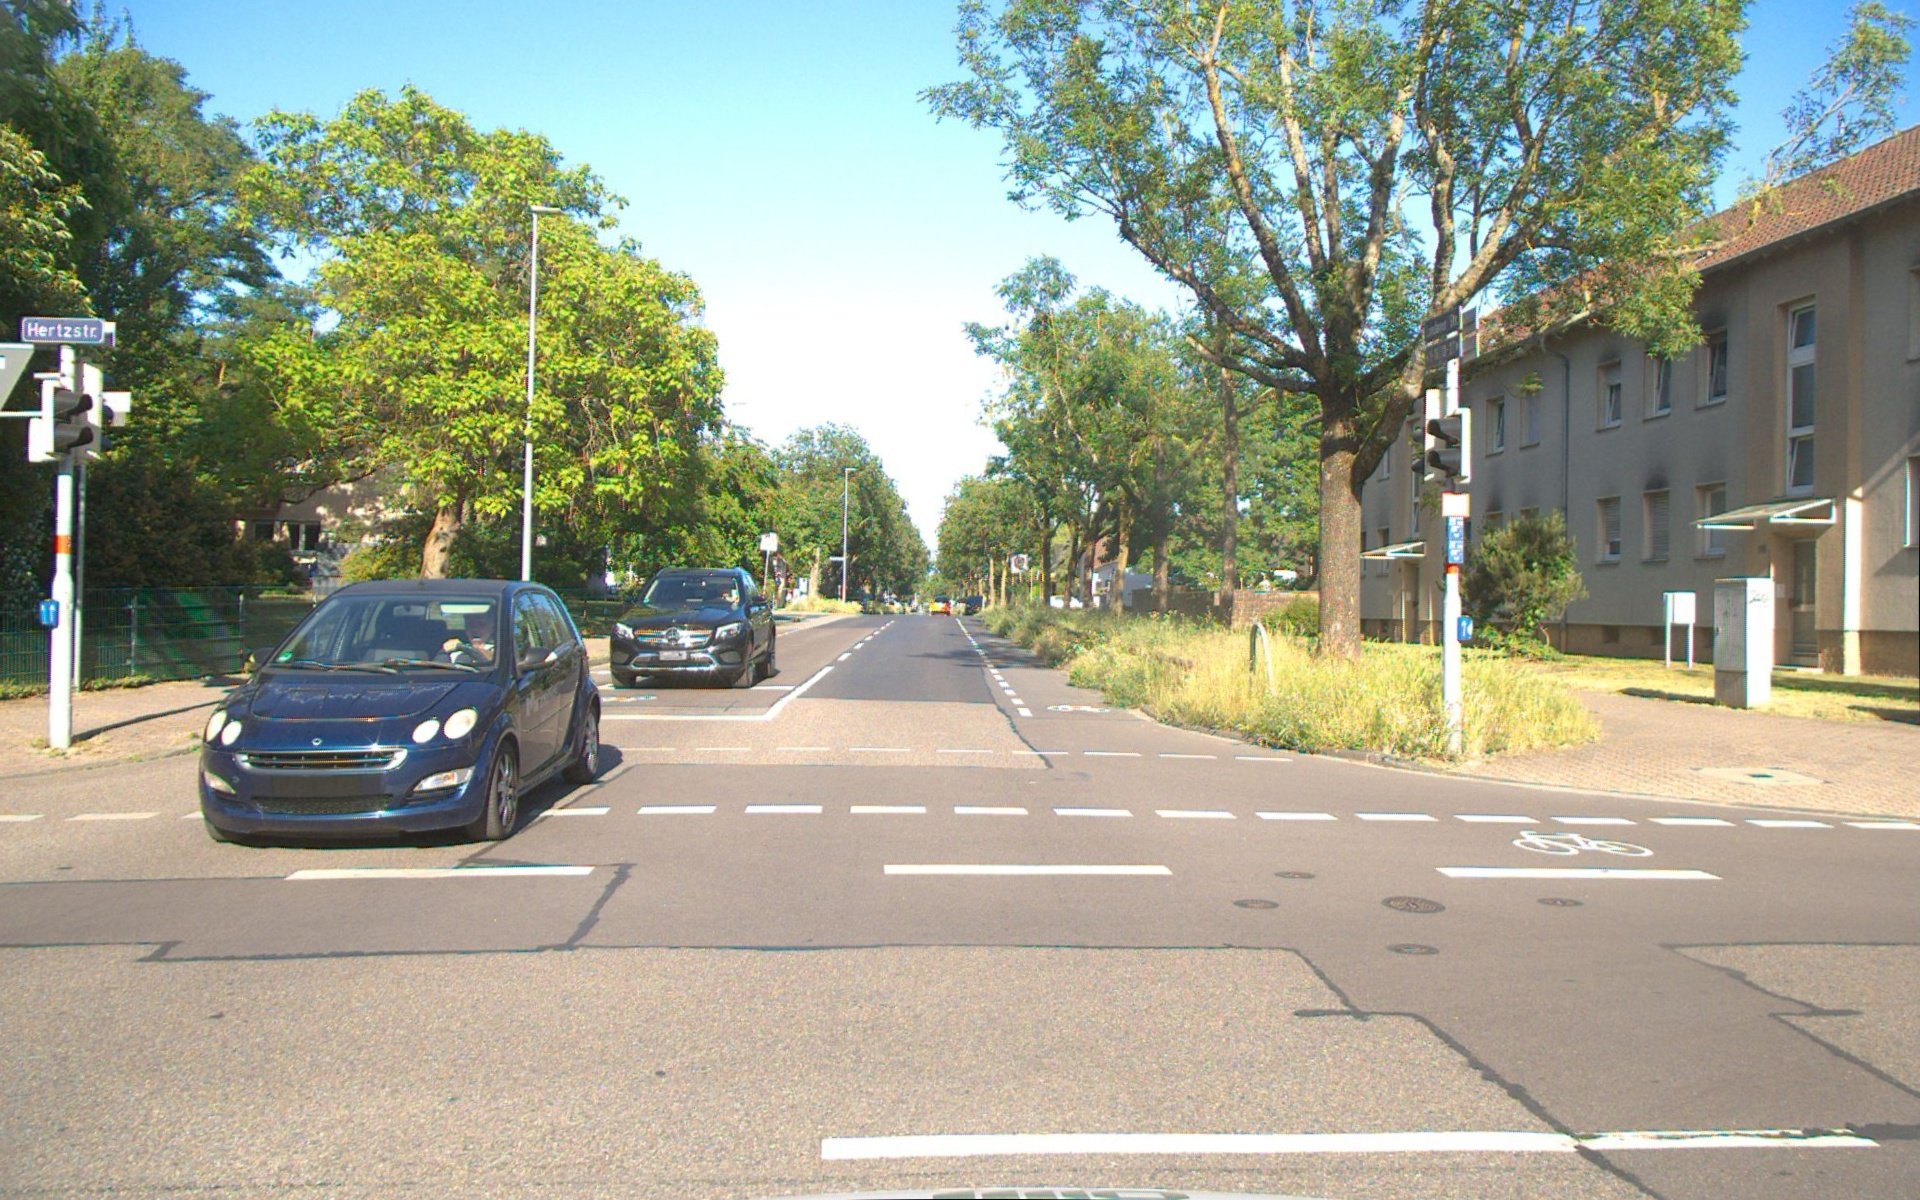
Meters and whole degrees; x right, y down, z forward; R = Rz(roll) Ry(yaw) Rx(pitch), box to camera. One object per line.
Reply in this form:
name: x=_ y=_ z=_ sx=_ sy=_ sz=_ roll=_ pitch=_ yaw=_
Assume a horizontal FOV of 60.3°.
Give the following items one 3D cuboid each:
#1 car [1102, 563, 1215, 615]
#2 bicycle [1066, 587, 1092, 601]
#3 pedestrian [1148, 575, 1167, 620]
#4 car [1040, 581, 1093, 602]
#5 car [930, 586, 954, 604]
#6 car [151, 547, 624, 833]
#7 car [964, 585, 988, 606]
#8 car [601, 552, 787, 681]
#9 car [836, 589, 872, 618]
car: x=10.247 y=-0.563 z=85.804 sx=5.484 sy=2.583 sz=2.264 roll=1 pitch=0 yaw=-5
bicycle: x=9.010 y=-0.449 z=125.552 sx=1.918 sy=1.016 sz=0.576 roll=-1 pitch=1 yaw=-3
pedestrian: x=7.695 y=-0.100 z=64.410 sx=0.624 sy=1.735 sz=0.612 roll=-2 pitch=1 yaw=-2
car: x=8.258 y=-0.658 z=128.708 sx=3.907 sy=1.514 sz=1.901 roll=-1 pitch=1 yaw=-2
car: x=-1.633 y=-0.407 z=147.341 sx=1.851 sy=1.504 sz=3.885 roll=3 pitch=0 yaw=-4
car: x=-3.378 y=0.476 z=10.565 sx=1.769 sy=1.480 sz=3.849 roll=0 pitch=0 yaw=-2
car: x=1.322 y=-0.380 z=136.868 sx=1.815 sy=1.654 sz=4.468 roll=-1 pitch=-1 yaw=-1
car: x=-3.657 y=0.169 z=23.502 sx=1.777 sy=1.646 sz=4.394 roll=-1 pitch=1 yaw=2
car: x=-6.890 y=0.251 z=107.930 sx=1.913 sy=1.757 sz=4.874 roll=2 pitch=-1 yaw=0
